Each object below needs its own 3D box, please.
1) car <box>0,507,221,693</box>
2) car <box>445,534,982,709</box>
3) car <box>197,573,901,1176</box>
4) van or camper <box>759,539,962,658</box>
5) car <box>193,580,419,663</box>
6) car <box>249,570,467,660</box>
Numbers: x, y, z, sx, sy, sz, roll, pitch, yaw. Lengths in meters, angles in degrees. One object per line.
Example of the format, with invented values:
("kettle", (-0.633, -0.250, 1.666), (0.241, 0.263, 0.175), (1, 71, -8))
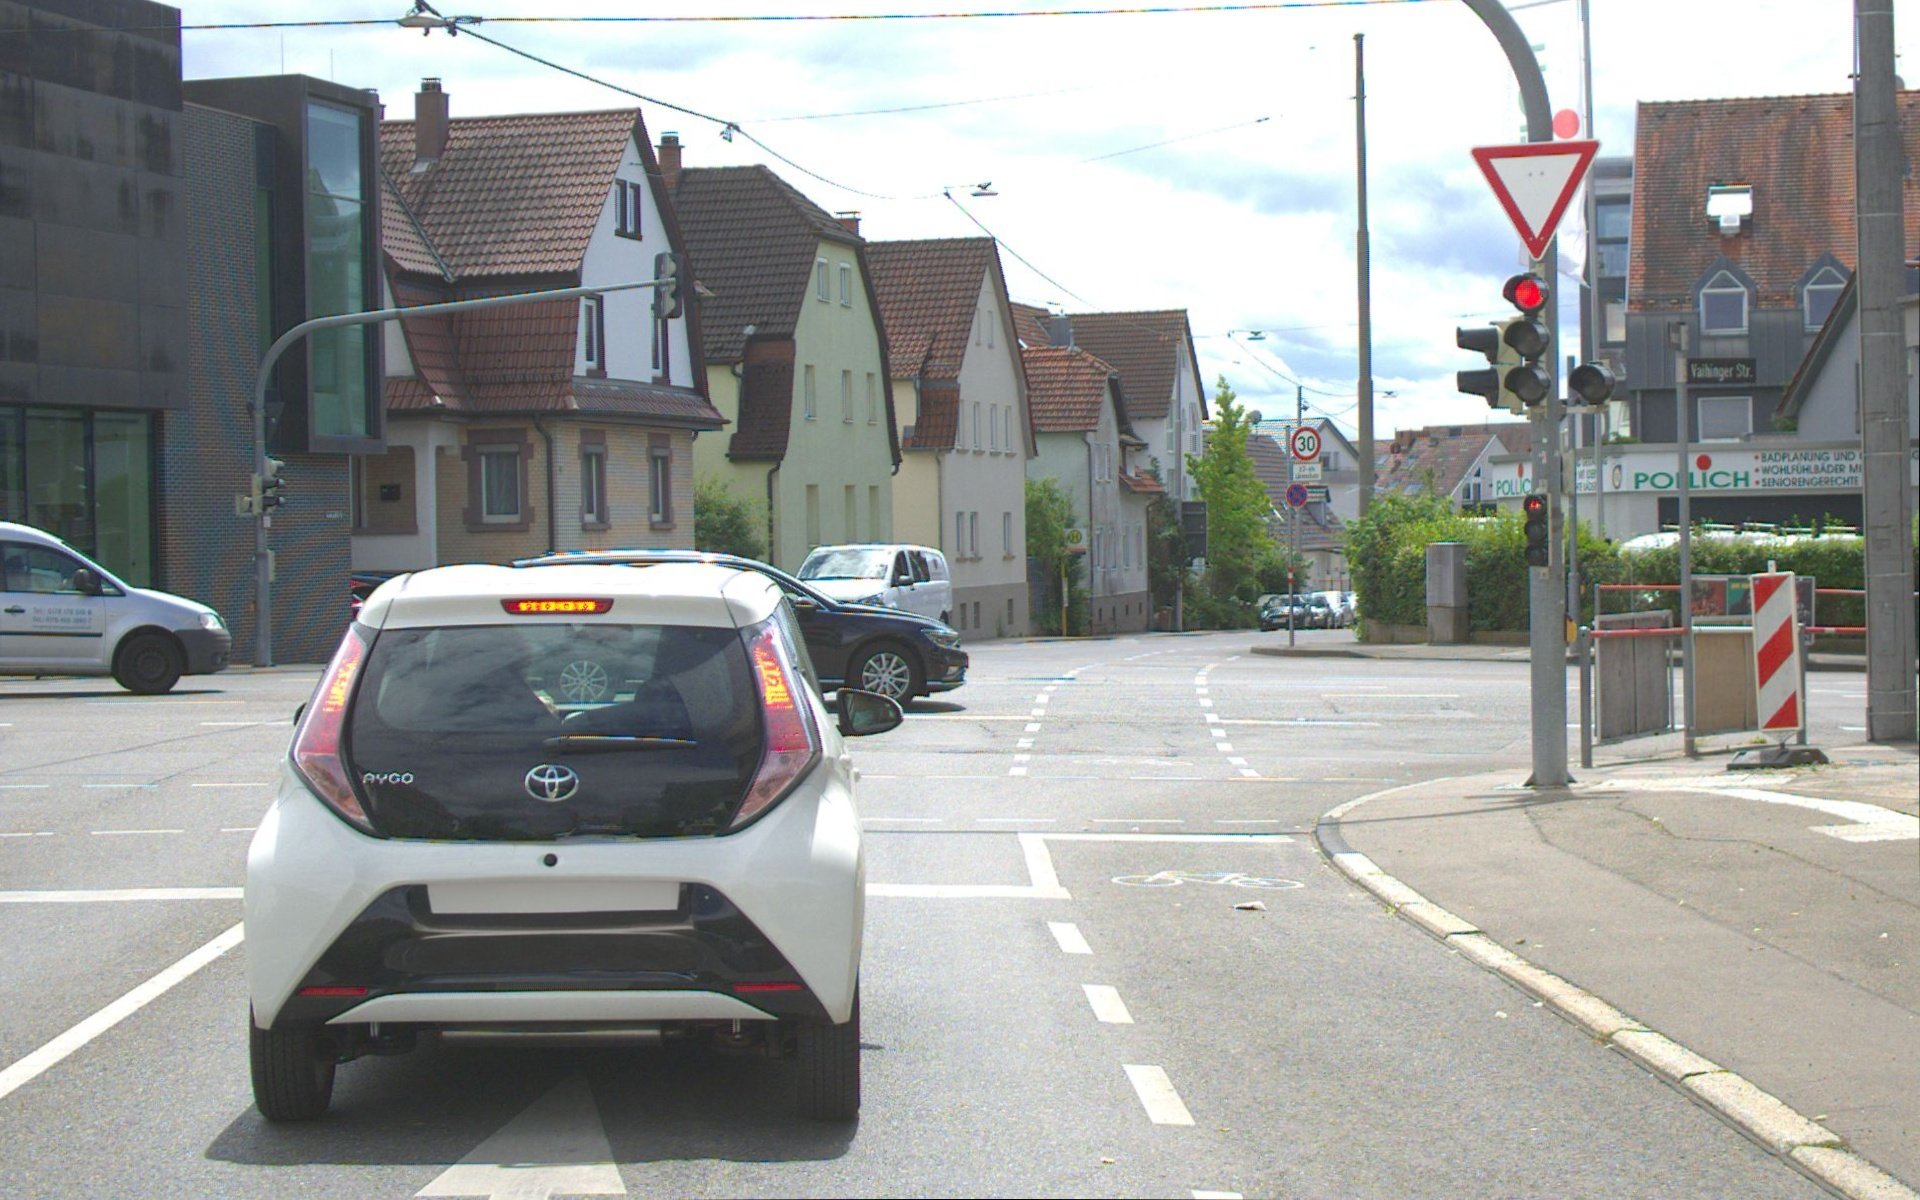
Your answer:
("car", (-9.758, -0.016, 35.305), (4.058, 1.842, 2.001), (1, 1, -17))
("car", (-2.371, 0.192, 32.403), (4.895, 1.572, 2.001), (0, 1, -8))
("car", (-1.087, 0.663, 10.073), (1.697, 1.451, 3.299), (1, 1, -3))
("van or camper", (-1.648, -0.052, 59.141), (2.117, 1.919, 5.282), (1, 1, 14))
("car", (-11.761, 0.371, 61.938), (3.616, 1.414, 1.691), (1, 1, 11))
("car", (-11.225, 0.264, 64.162), (3.616, 1.600, 1.691), (1, 1, 11))
